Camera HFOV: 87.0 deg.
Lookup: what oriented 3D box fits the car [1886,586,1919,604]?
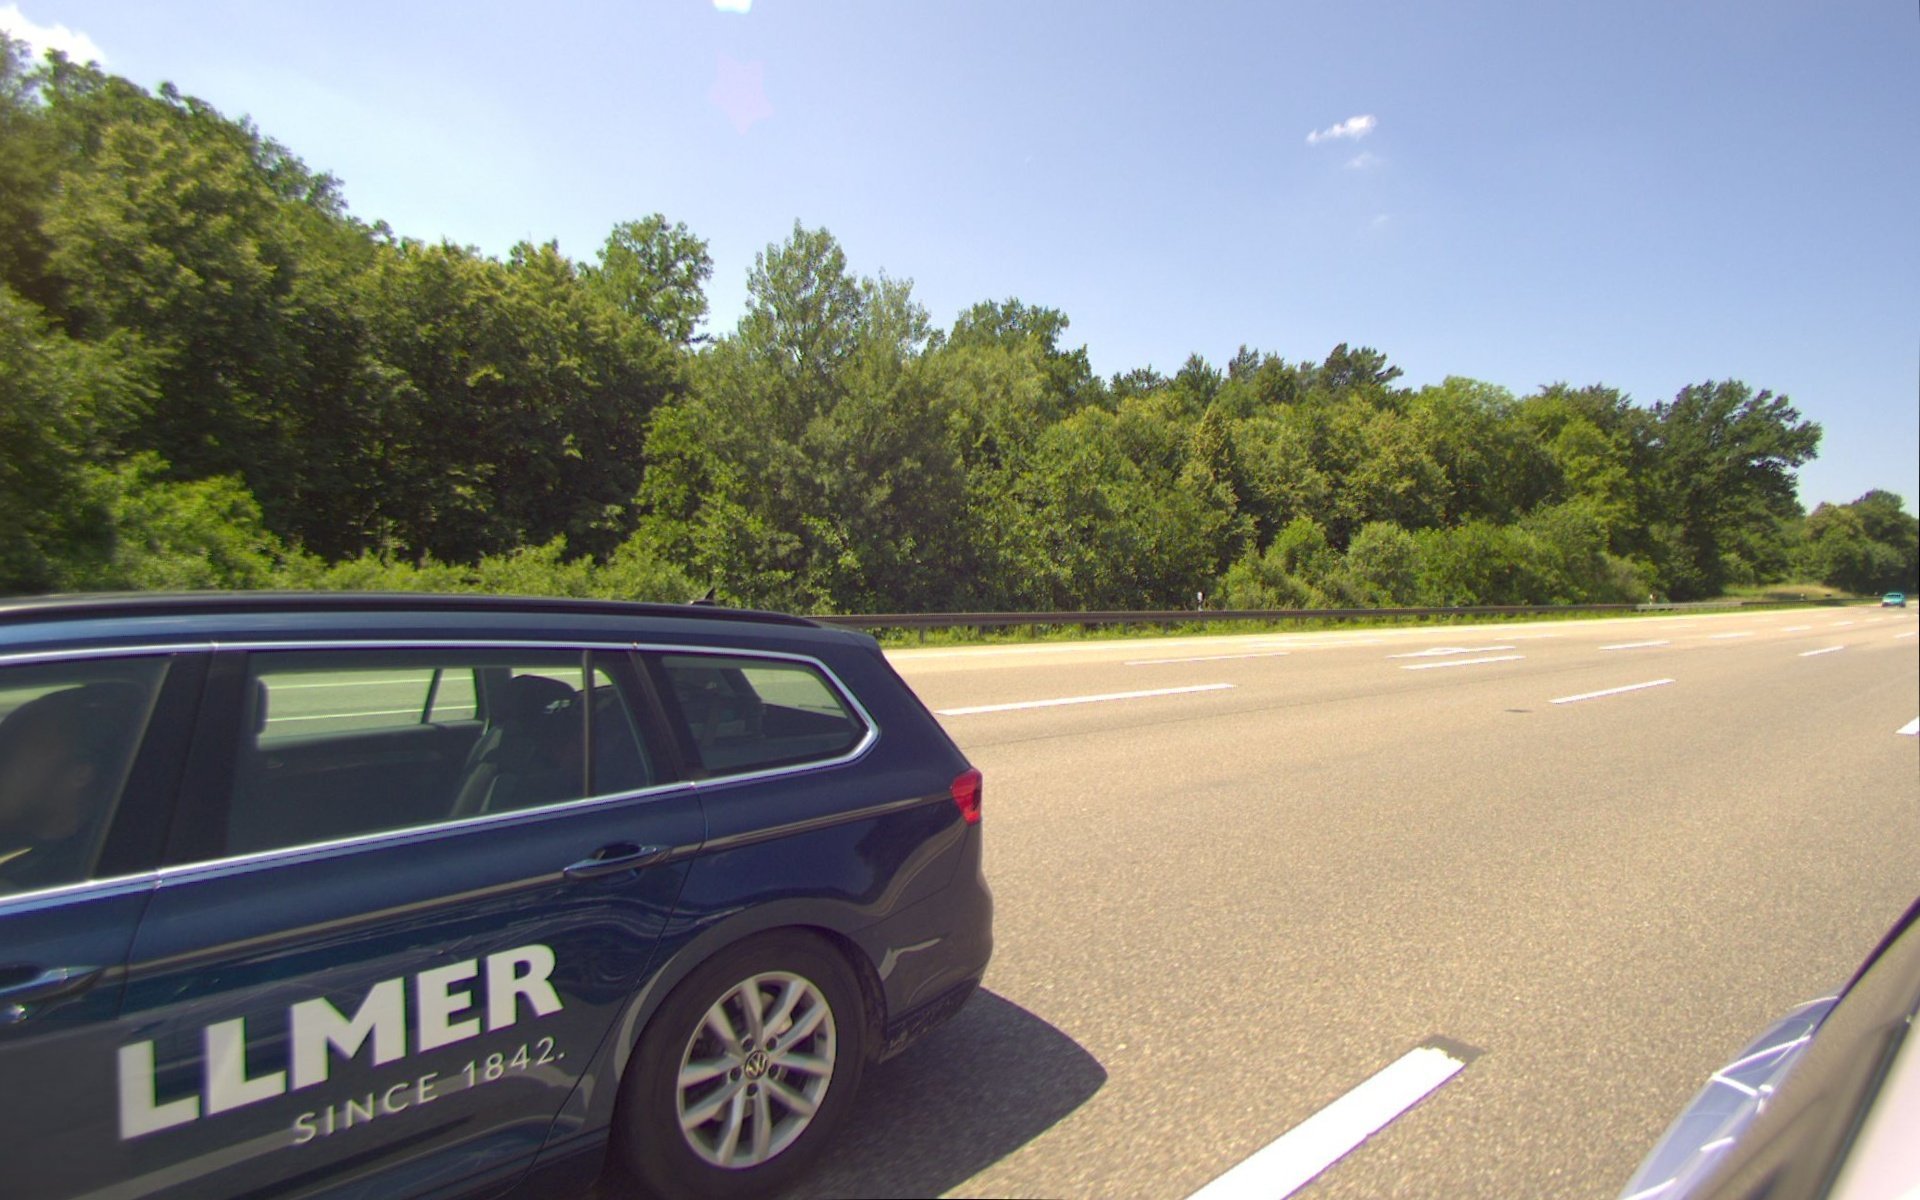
[{"bbox_3d":[95.246,-0.500,102.158,4.053,1.701,1.999,0,3,-39],"label":"car"}]

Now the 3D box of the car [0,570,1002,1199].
[{"bbox_3d":[-2.304,0.679,1.852,4.873,1.465,1.733,0,2,-40],"label":"car"}]
